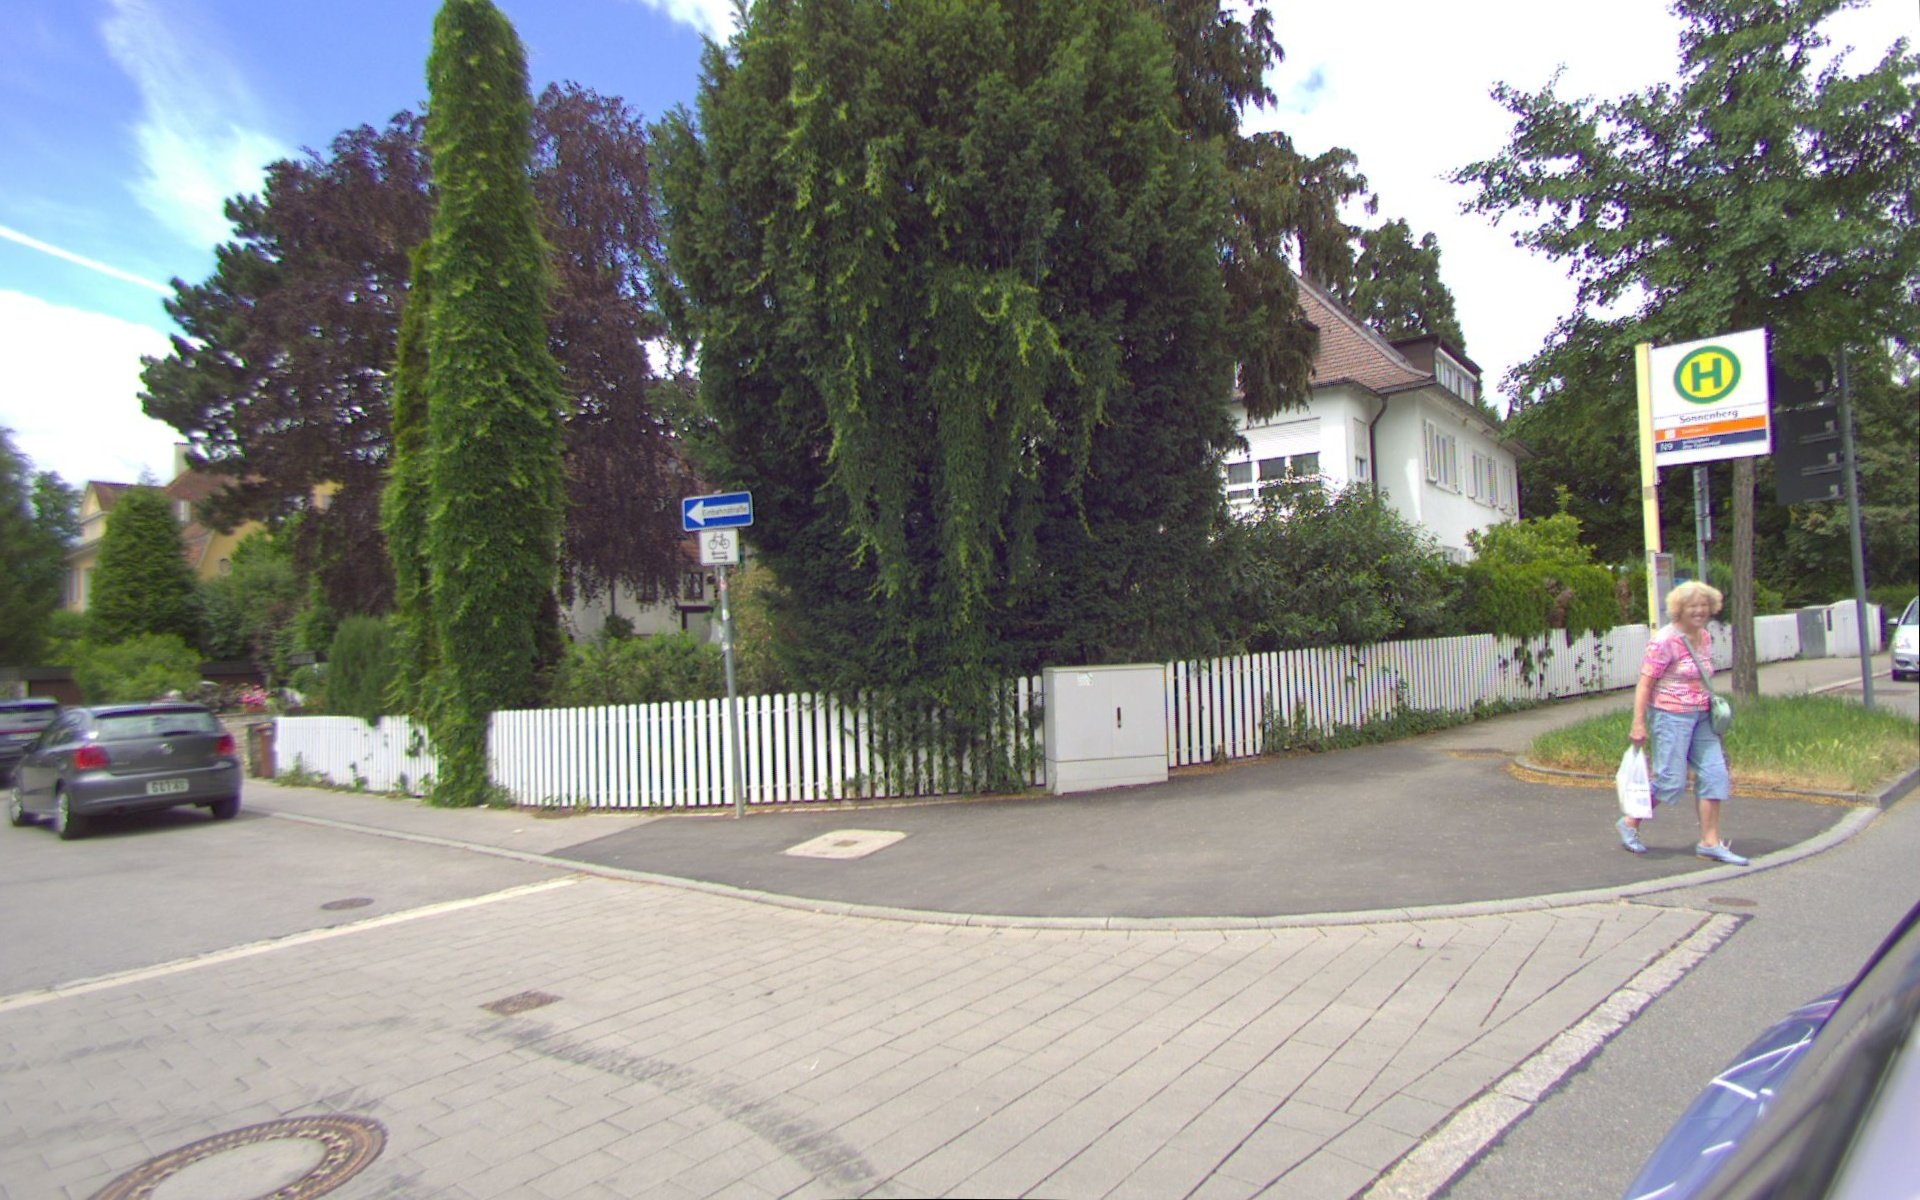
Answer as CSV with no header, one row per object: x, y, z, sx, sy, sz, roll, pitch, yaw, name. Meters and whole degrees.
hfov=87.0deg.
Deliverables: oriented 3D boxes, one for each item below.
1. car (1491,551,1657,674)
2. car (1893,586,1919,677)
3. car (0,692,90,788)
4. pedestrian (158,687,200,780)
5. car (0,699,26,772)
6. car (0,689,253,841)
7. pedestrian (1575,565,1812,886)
15.650,0.338,25.666,2.495,2.717,5.107,-6,-4,42,car
18.887,0.532,18.794,3.947,1.602,1.762,-1,0,-40,car
-18.688,2.716,19.689,4.319,1.628,1.862,-6,-4,38,car
-13.902,2.355,18.020,0.566,1.568,0.544,0,-4,-40,pedestrian
-22.761,3.139,23.078,3.325,1.564,1.639,-6,-4,38,car
-10.289,1.933,12.403,3.512,1.477,1.691,-6,-4,38,car
4.254,0.656,5.883,0.868,1.666,0.856,-1,-2,-38,pedestrian
